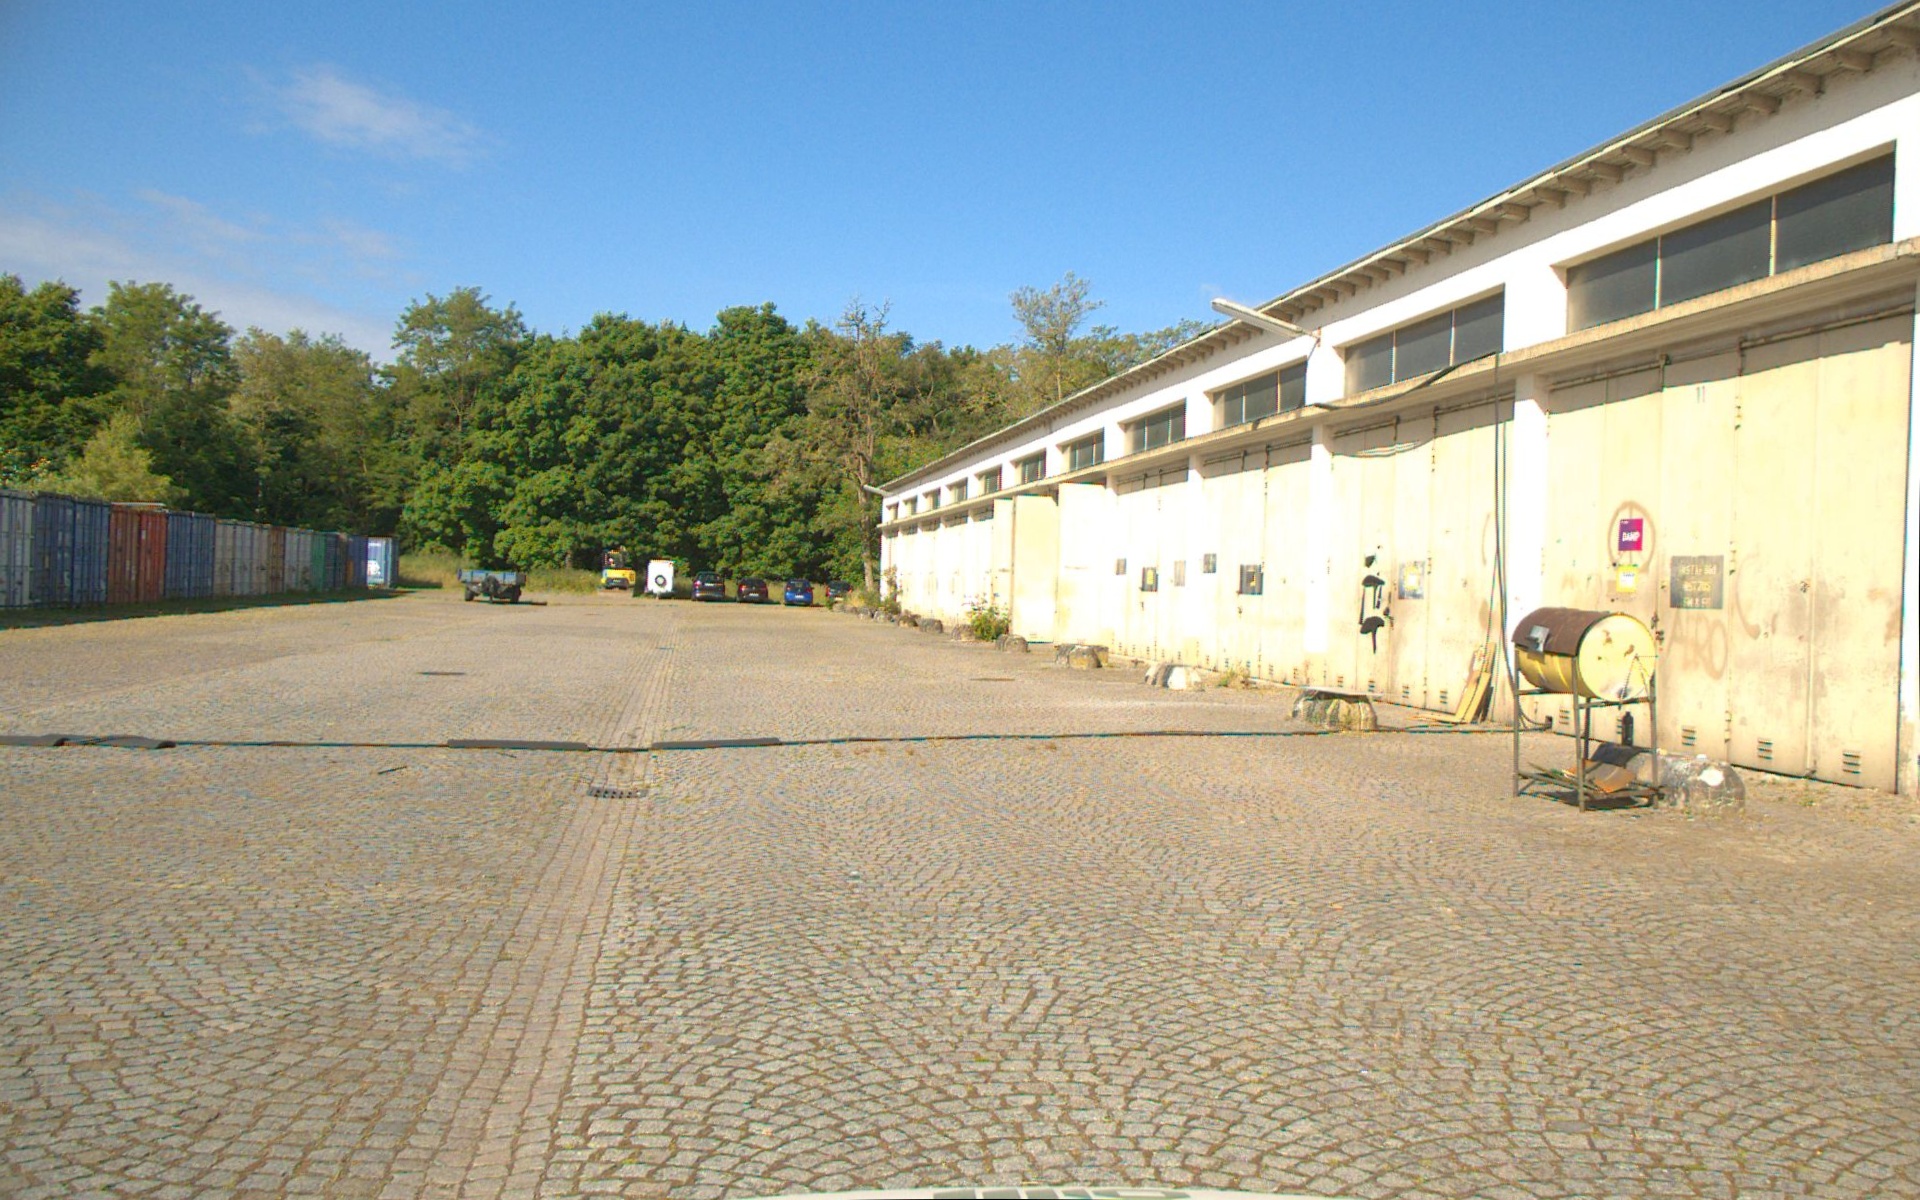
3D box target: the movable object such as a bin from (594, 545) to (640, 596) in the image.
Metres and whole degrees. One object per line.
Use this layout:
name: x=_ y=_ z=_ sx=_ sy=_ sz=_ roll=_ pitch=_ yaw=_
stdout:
movable object such as a bin: x=-19.444 y=-1.667 z=93.862 sx=1.955 sy=2.663 sz=3.995 roll=4 pitch=0 yaw=-6

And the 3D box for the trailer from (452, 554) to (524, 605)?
trailer: x=-21.070 y=-0.921 z=74.021 sx=2.362 sy=2.048 sz=4.166 roll=4 pitch=0 yaw=-8

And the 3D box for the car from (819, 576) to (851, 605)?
car: x=-7.189 y=-0.581 z=95.513 sx=1.651 sy=1.591 sz=3.998 roll=2 pitch=0 yaw=-3

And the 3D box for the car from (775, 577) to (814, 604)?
car: x=-9.358 y=-0.541 z=93.876 sx=1.954 sy=1.445 sz=3.998 roll=2 pitch=0 yaw=-3

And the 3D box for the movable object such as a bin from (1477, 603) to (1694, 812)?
movable object such as a bin: x=4.355 y=0.723 z=11.604 sx=0.809 sy=1.355 sz=1.275 roll=2 pitch=0 yaw=-15

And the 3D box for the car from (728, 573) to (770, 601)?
car: x=-11.899 y=-0.712 z=93.419 sx=1.954 sy=1.488 sz=3.998 roll=2 pitch=0 yaw=-3

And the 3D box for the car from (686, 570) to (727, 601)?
car: x=-14.182 y=-0.812 z=92.581 sx=1.824 sy=1.613 sz=3.998 roll=2 pitch=0 yaw=-3

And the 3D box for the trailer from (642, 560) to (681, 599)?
trailer: x=-16.943 y=-1.172 z=94.024 sx=1.759 sy=2.126 sz=3.967 roll=2 pitch=0 yaw=-6
